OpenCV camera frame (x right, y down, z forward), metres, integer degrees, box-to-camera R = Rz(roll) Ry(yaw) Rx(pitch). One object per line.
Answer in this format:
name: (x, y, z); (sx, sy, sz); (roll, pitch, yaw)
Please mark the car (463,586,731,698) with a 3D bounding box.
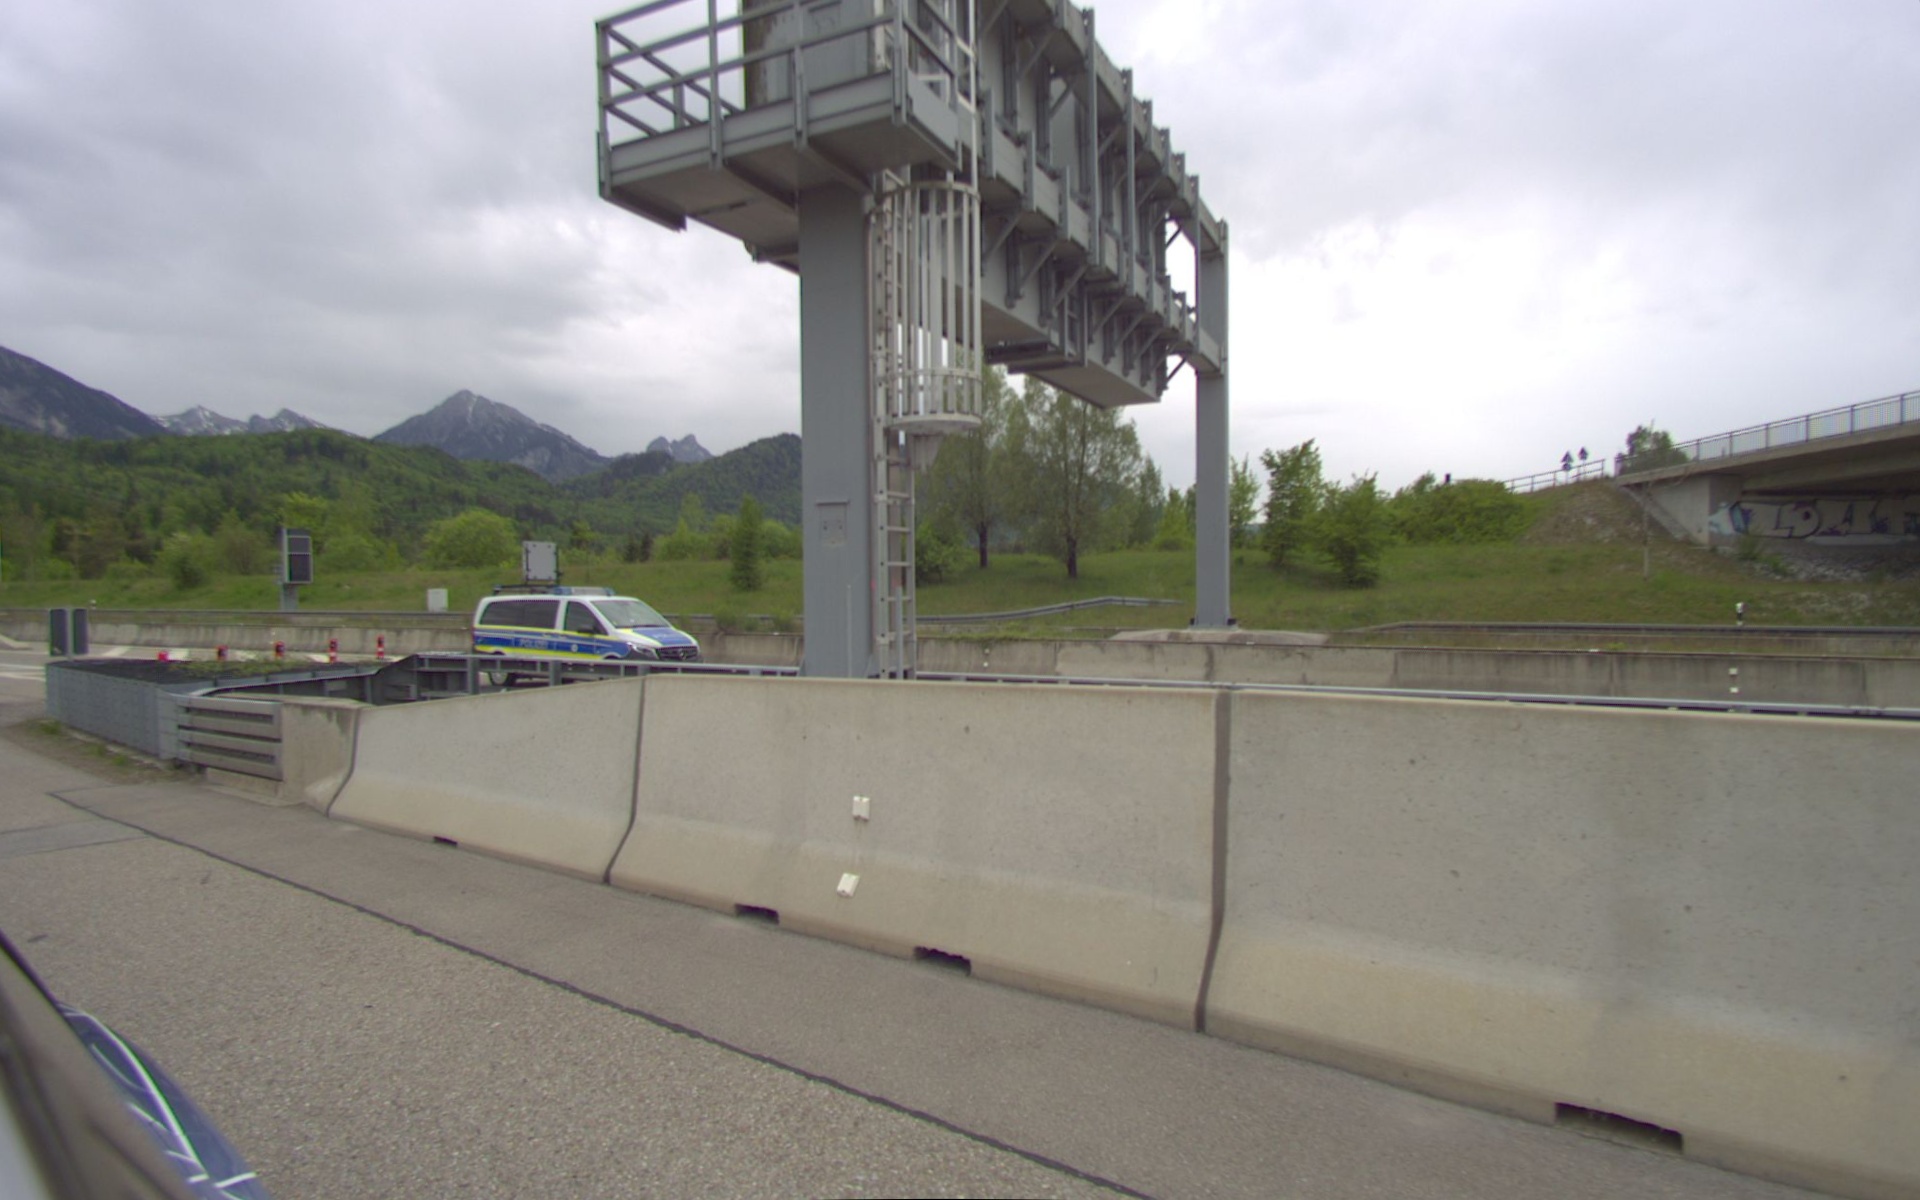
car: (-7.316, 0.762, 20.389); (5.023, 2.029, 2.273); (0, 0, 26)
